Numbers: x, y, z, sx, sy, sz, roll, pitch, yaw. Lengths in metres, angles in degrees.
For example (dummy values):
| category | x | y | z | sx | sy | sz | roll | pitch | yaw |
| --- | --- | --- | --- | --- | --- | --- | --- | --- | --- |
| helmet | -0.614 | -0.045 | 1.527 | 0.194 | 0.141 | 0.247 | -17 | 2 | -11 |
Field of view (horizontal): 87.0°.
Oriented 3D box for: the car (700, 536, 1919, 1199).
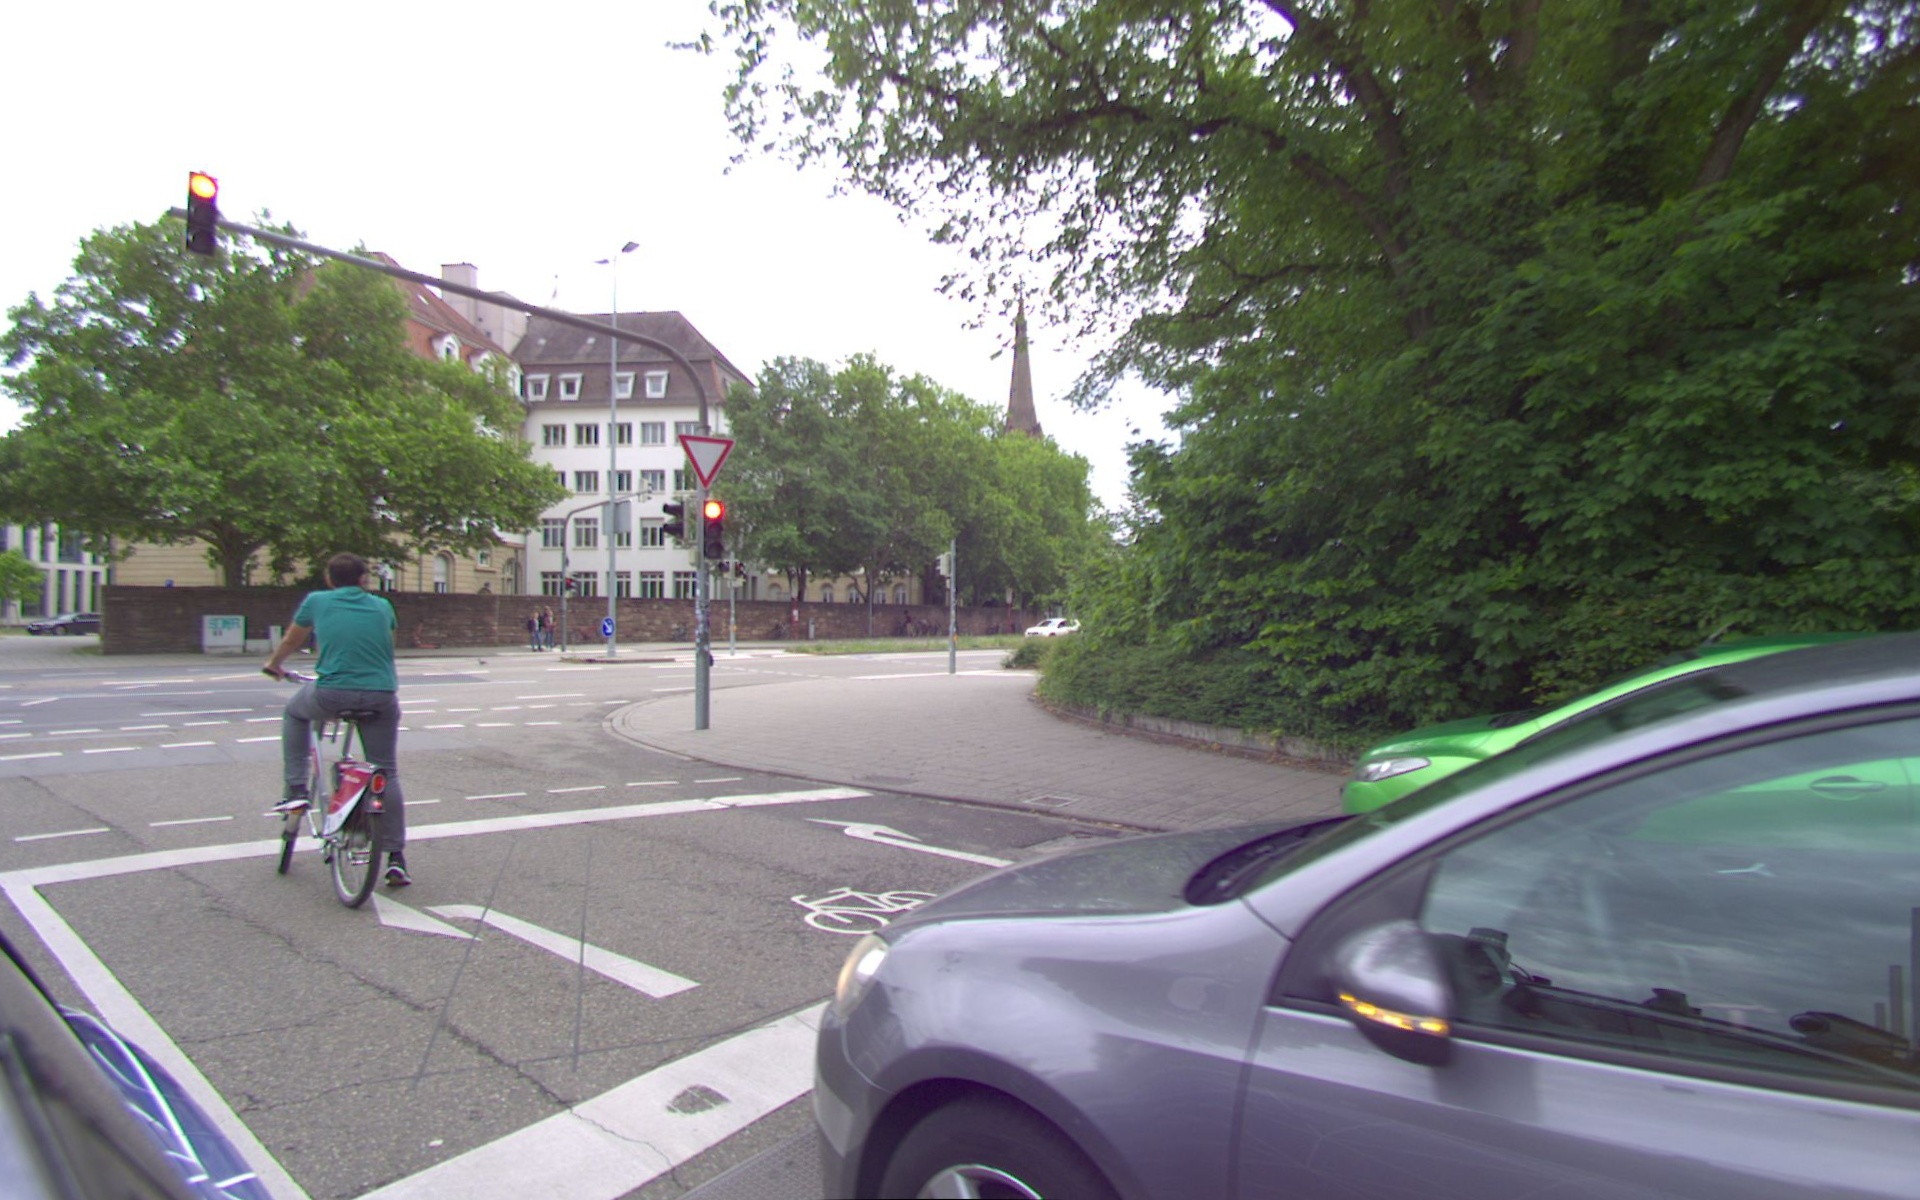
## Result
| category | x | y | z | sx | sy | sz | roll | pitch | yaw |
| --- | --- | --- | --- | --- | --- | --- | --- | --- | --- |
| car | 1.627 | 0.719 | 1.406 | 4.164 | 1.508 | 1.765 | -1 | -2 | 40 |

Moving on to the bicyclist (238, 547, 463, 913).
| category | x | y | z | sx | sy | sz | roll | pitch | yaw |
| --- | --- | --- | --- | --- | --- | --- | --- | --- | --- |
| bicyclist | -3.324 | 0.647 | 5.526 | 0.981 | 1.793 | 0.652 | -1 | -2 | 33 |

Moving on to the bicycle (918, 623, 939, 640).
| category | x | y | z | sx | sy | sz | roll | pitch | yaw |
| --- | --- | --- | --- | --- | --- | --- | --- | --- | --- |
| bicycle | -2.228 | 2.245 | 72.473 | 0.505 | 1.157 | 2.227 | 1 | -1 | 27 |

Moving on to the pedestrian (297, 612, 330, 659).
| category | x | y | z | sx | sy | sz | roll | pitch | yaw |
| --- | --- | --- | --- | --- | --- | --- | --- | --- | --- |
| pedestrian | -23.724 | 1.293 | 37.156 | 0.791 | 1.677 | 0.798 | 1 | -1 | 41 |

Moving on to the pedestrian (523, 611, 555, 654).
| category | x | y | z | sx | sy | sz | roll | pitch | yaw |
| --- | --- | --- | --- | --- | --- | --- | --- | --- | --- |
| pedestrian | -18.153 | 1.409 | 43.657 | 0.757 | 1.802 | 0.993 | 1 | -1 | 39 |

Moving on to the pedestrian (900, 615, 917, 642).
| category | x | y | z | sx | sy | sz | roll | pitch | yaw |
| --- | --- | --- | --- | --- | --- | --- | --- | --- | --- |
| pedestrian | -3.480 | 1.911 | 68.410 | 0.787 | 1.773 | 0.766 | 0 | -2 | 28 |

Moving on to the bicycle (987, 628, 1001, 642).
| category | x | y | z | sx | sy | sz | roll | pitch | yaw |
| --- | --- | --- | --- | --- | --- | --- | --- | --- | --- |
| bicycle | 2.872 | 2.901 | 84.314 | 0.504 | 1.157 | 2.233 | 1 | -1 | 19 |

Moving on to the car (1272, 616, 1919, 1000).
| category | x | y | z | sx | sy | sz | roll | pitch | yaw |
| --- | --- | --- | --- | --- | --- | --- | --- | --- | --- |
| car | 3.915 | 0.834 | 4.929 | 4.247 | 1.481 | 1.778 | -1 | -2 | 42 |

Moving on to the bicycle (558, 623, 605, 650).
| category | x | y | z | sx | sy | sz | roll | pitch | yaw |
| --- | --- | --- | --- | --- | --- | --- | --- | --- | --- |
| bicycle | -17.581 | 1.676 | 47.072 | 0.581 | 1.194 | 2.133 | 1 | -1 | 31 |

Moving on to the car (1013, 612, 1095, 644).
| category | x | y | z | sx | sy | sz | roll | pitch | yaw |
| --- | --- | --- | --- | --- | --- | --- | --- | --- | --- |
| car | 5.698 | 1.666 | 60.655 | 2.048 | 1.710 | 5.297 | -4 | -3 | 43 |

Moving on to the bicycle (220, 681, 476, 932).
| category | x | y | z | sx | sy | sz | roll | pitch | yaw |
| --- | --- | --- | --- | --- | --- | --- | --- | --- | --- |
| bicycle | -3.359 | 1.008 | 5.481 | 1.857 | 1.045 | 0.650 | -1 | -2 | 42 |

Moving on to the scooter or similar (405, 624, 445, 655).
| category | x | y | z | sx | sy | sz | roll | pitch | yaw |
| --- | --- | --- | --- | --- | --- | --- | --- | --- | --- |
| scooter or similar | -21.882 | 1.608 | 41.405 | 1.389 | 1.239 | 0.497 | 2 | -1 | -31 |

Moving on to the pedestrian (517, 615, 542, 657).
| category | x | y | z | sx | sy | sz | roll | pitch | yaw |
| --- | --- | --- | --- | --- | --- | --- | --- | --- | --- |
| pedestrian | -17.990 | 1.498 | 42.282 | 0.734 | 1.752 | 0.662 | 0 | -1 | 37 |

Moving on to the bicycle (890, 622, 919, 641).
| category | x | y | z | sx | sy | sz | roll | pitch | yaw |
| --- | --- | --- | --- | --- | --- | --- | --- | --- | --- |
| bicycle | -3.764 | 2.136 | 68.968 | 0.662 | 1.275 | 2.517 | 1 | -1 | 29 |

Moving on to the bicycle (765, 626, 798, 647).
| category | x | y | z | sx | sy | sz | roll | pitch | yaw |
| --- | --- | --- | --- | --- | --- | --- | --- | --- | --- |
| bicycle | -10.269 | 2.099 | 58.233 | 0.662 | 1.157 | 2.134 | 1 | -1 | 29 |

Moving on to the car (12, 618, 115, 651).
| category | x | y | z | sx | sy | sz | roll | pitch | yaw |
| --- | --- | --- | --- | --- | --- | --- | --- | --- | --- |
| car | -54.191 | 2.058 | 61.283 | 1.977 | 1.593 | 4.394 | -10 | -2 | 6 |

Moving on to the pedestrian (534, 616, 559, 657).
| category | x | y | z | sx | sy | sz | roll | pitch | yaw |
| --- | --- | --- | --- | --- | --- | --- | --- | --- | --- |
| pedestrian | -17.503 | 1.532 | 42.833 | 0.779 | 1.706 | 0.634 | 1 | -1 | 40 |
